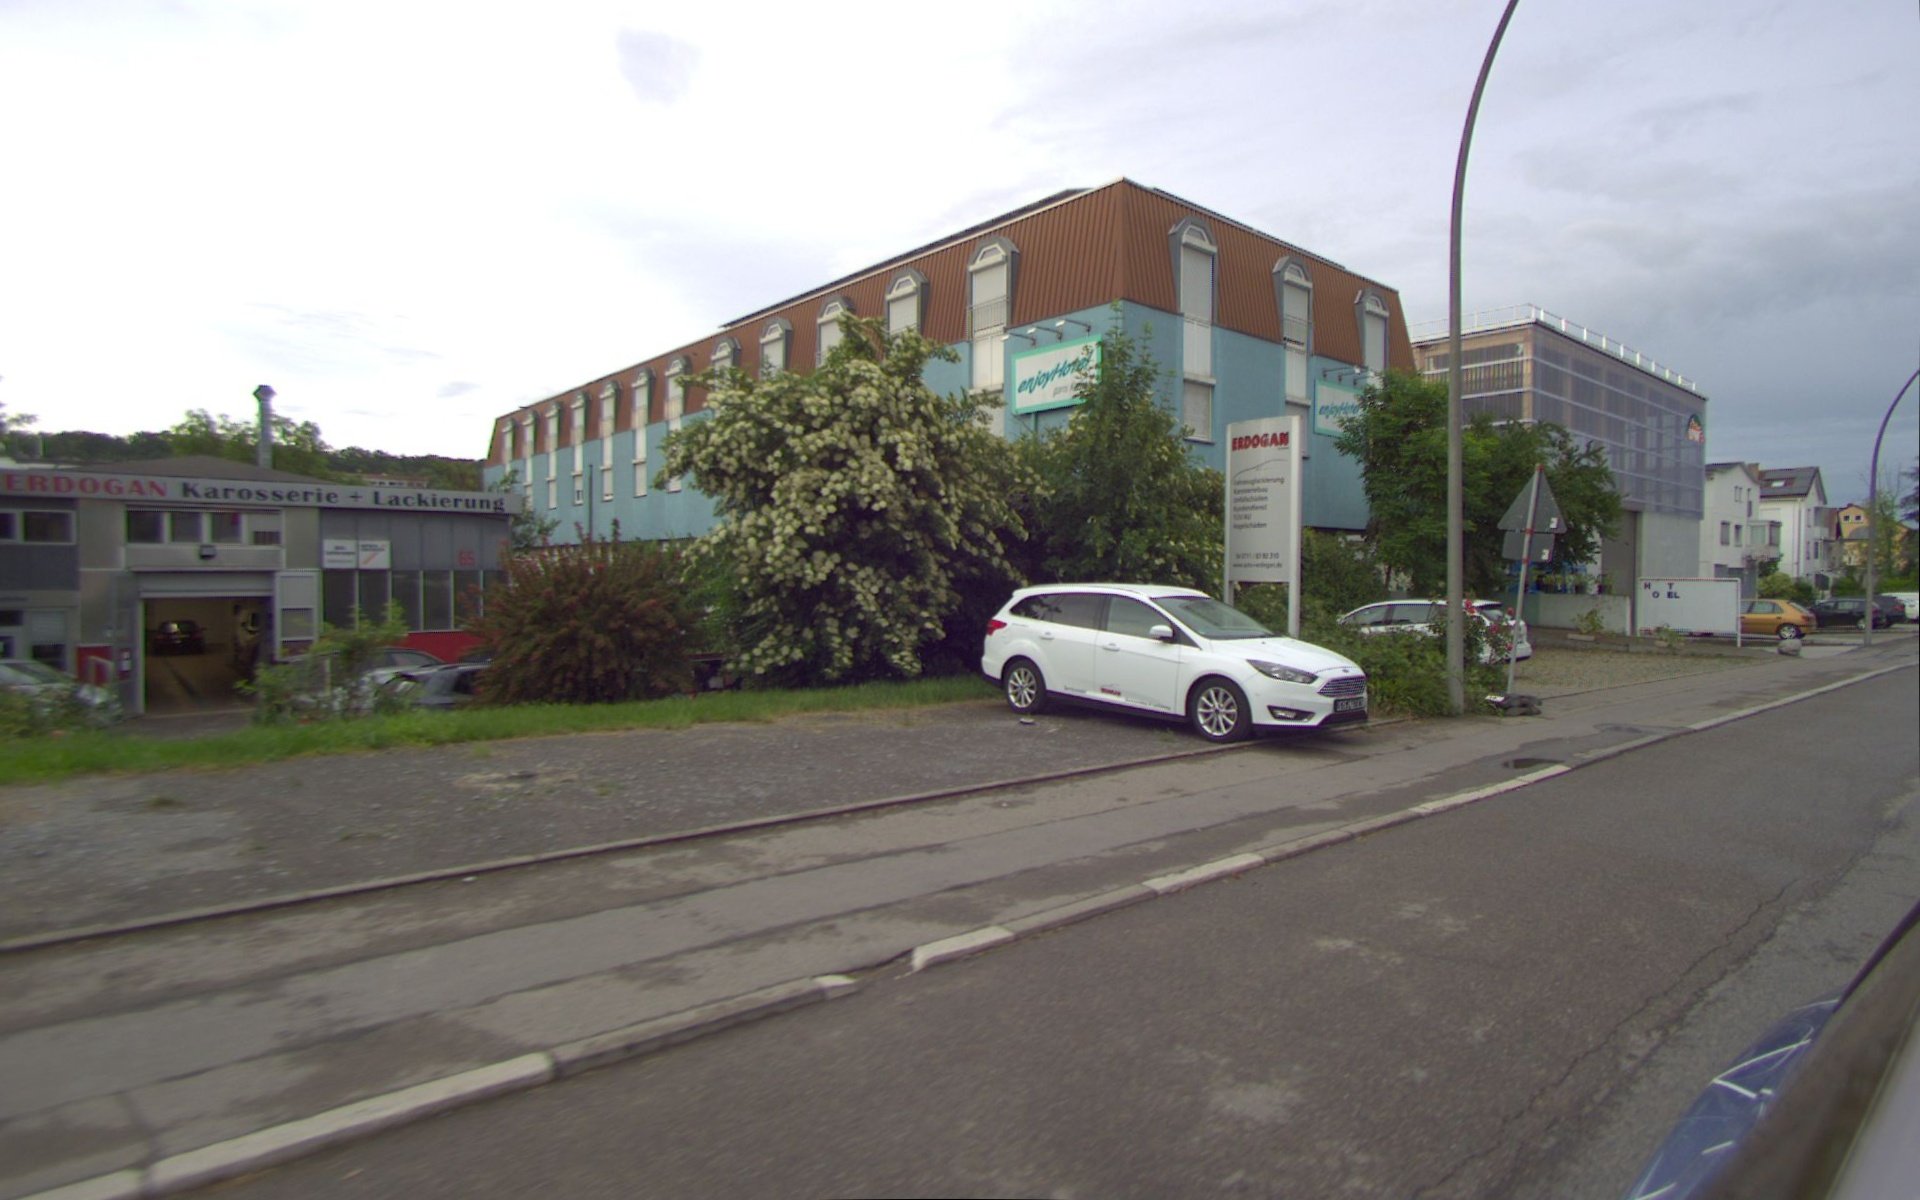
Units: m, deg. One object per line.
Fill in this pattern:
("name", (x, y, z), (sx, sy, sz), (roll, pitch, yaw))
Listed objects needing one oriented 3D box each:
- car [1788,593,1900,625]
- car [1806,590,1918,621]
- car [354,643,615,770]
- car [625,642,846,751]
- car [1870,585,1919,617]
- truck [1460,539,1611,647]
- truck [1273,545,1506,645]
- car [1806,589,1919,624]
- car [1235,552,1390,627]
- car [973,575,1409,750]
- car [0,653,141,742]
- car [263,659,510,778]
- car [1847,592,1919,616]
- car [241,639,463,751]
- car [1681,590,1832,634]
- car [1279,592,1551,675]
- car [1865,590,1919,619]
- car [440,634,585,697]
("car", (44.086, 0.407, 50.517), (1.800, 1.508, 3.975), (0, 0, -39))
("car", (47.976, 0.324, 53.881), (1.780, 1.555, 4.251), (-1, 0, -40))
("car", (-7.092, 1.498, 15.245), (3.227, 1.494, 1.620), (-1, 1, -43))
("car", (-4.103, 1.695, 18.779), (3.594, 1.605, 1.801), (-1, 1, -42))
("car", (58.765, 0.031, 61.655), (1.965, 1.910, 4.741), (-1, 0, -40))
("truck", (21.440, -0.195, 37.775), (2.674, 3.721, 4.147), (-1, -2, -42))
("truck", (17.610, -0.170, 42.087), (2.676, 3.754, 8.545), (-1, 0, -42))
("car", (46.210, 0.340, 51.804), (1.946, 1.696, 4.233), (-1, 0, -40))
("car", (9.169, -0.276, 26.164), (4.356, 1.762, 1.995), (-1, 0, -43))
("car", (2.276, 0.512, 10.928), (1.870, 1.494, 4.345), (-1, 1, -41))
("car", (-18.602, 1.877, 19.728), (3.892, 1.524, 1.853), (-1, 0, 4))
("car", (-9.342, 1.841, 16.598), (3.227, 1.494, 1.707), (-1, 1, -43))
("car", (56.337, 0.216, 60.873), (1.818, 1.396, 4.327), (-1, 0, -41))
("car", (-11.113, 1.652, 18.587), (3.227, 1.674, 1.642), (-1, 1, -43))
("car", (27.963, 0.371, 35.627), (1.602, 1.448, 3.993), (0, 1, -41))
("car", (8.623, 0.581, 19.493), (1.848, 1.410, 4.421), (0, 0, -42))
("car", (55.037, 0.262, 58.043), (1.860, 1.645, 4.452), (-1, 0, -41))
("car", (-12.733, 1.811, 28.882), (3.466, 1.523, 1.666), (-1, 1, -41))
